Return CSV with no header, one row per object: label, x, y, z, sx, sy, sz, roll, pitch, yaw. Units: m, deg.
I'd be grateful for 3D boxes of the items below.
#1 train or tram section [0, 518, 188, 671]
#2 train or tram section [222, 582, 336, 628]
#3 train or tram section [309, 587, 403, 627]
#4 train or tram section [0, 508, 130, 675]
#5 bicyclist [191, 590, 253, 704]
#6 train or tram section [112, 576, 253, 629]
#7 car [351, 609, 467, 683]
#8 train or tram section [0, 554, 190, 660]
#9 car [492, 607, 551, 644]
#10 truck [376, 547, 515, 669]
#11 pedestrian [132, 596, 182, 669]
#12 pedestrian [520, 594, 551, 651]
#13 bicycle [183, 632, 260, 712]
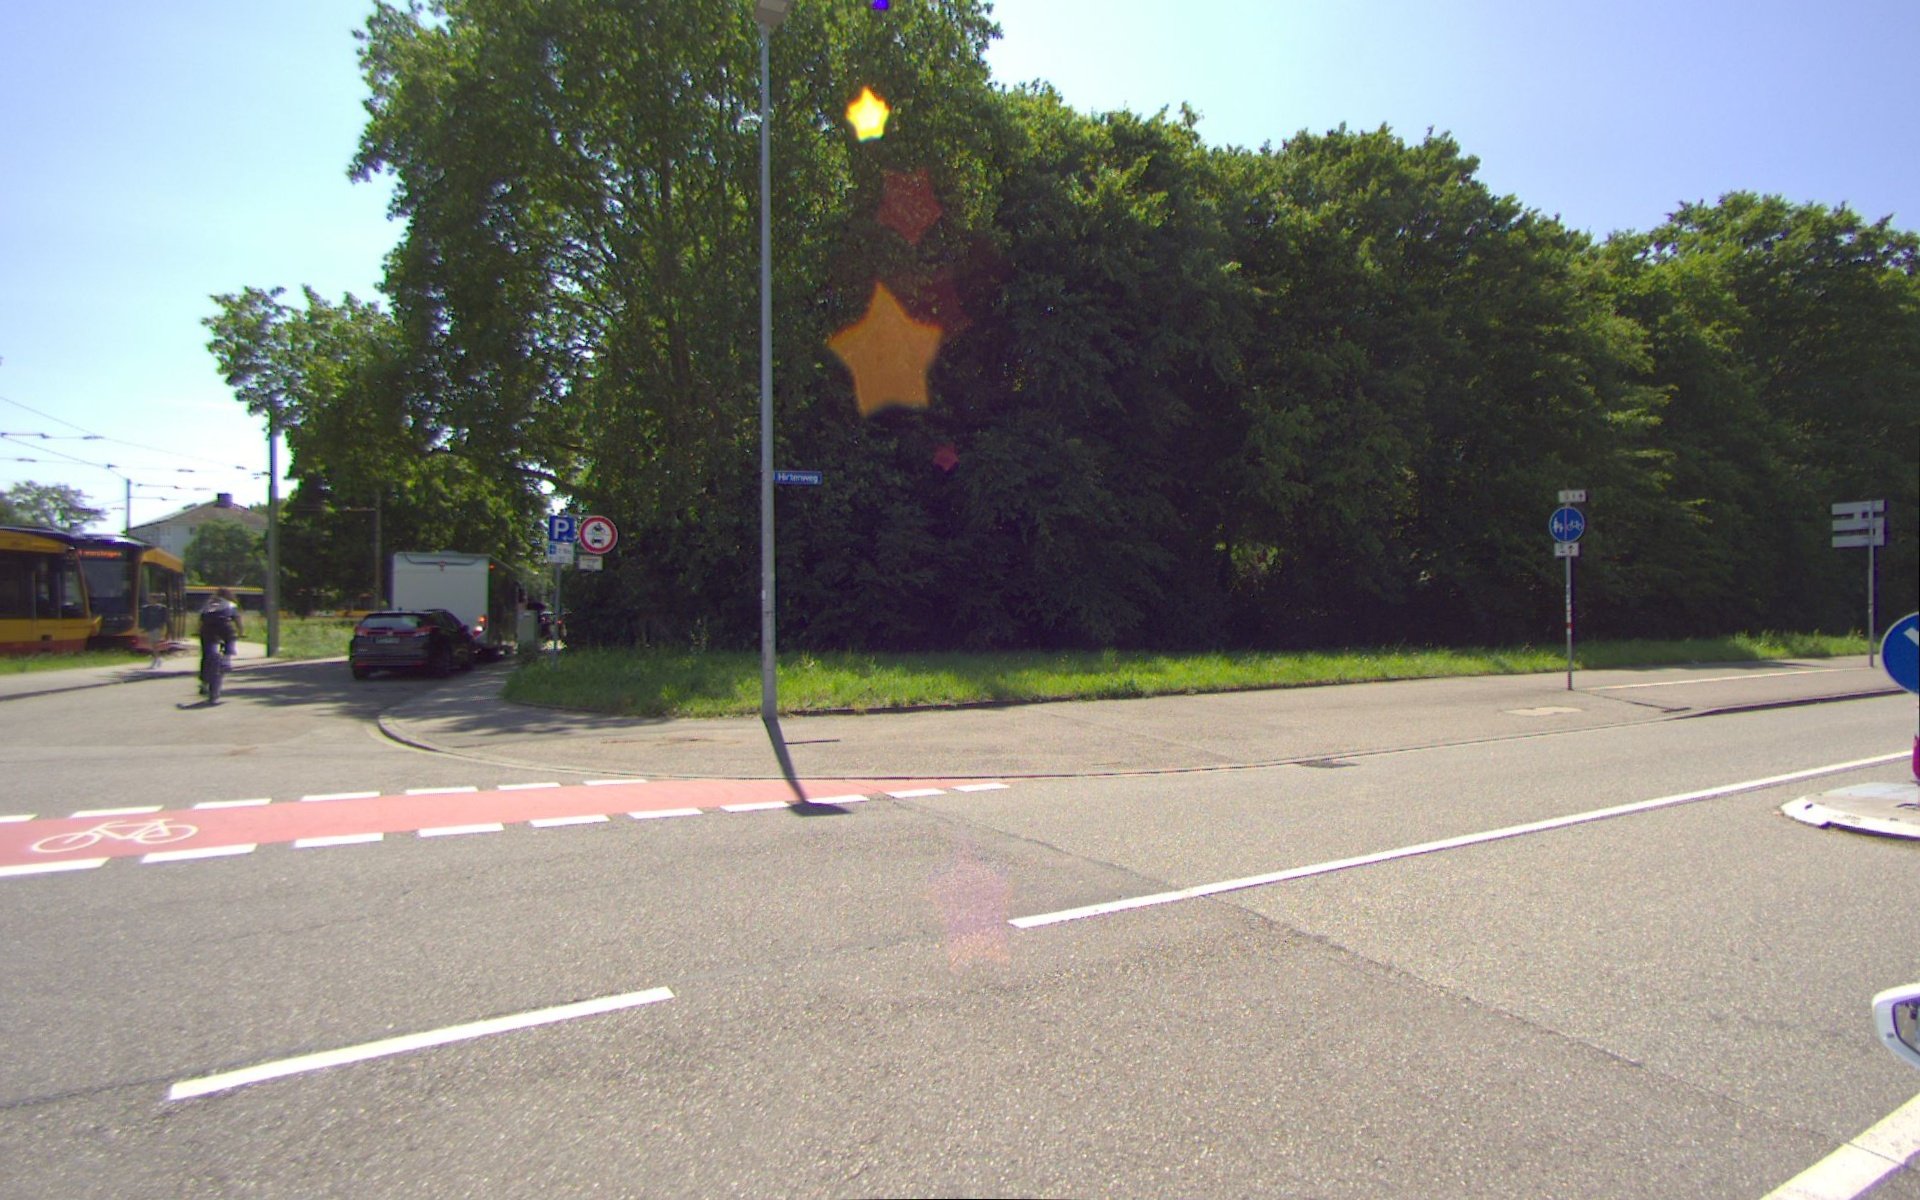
train or tram section,-26.662,0.065,31.597,2.995,3.809,14.059,0,-1,-34
train or tram section,-69.160,0.631,102.523,2.966,4.311,12.752,-1,-1,0
train or tram section,-69.008,0.882,115.269,2.966,4.311,12.753,-1,-1,1
train or tram section,-23.513,-0.259,19.396,2.966,3.809,14.053,-1,-1,2
bicyclist,-11.508,0.705,15.678,0.658,1.729,0.763,0,1,-28
train or tram section,-68.998,0.356,89.733,2.967,4.311,12.749,-1,-1,-2
car,-11.871,0.944,21.898,1.642,1.436,4.291,2,-1,-22
train or tram section,-35.796,0.451,41.227,13.967,3.809,3.015,-2,-1,37
car,-20.868,1.167,47.972,1.866,1.639,4.203,0,0,-14
truck,-14.172,0.222,28.189,2.529,2.948,7.308,1,0,-20
pedestrian,-19.423,0.767,24.315,0.845,1.732,0.802,-1,1,-32
pedestrian,-13.205,0.694,31.255,0.647,1.750,0.673,0,0,38
bicycle,-11.509,1.083,15.712,0.663,1.069,2.030,0,1,-28
